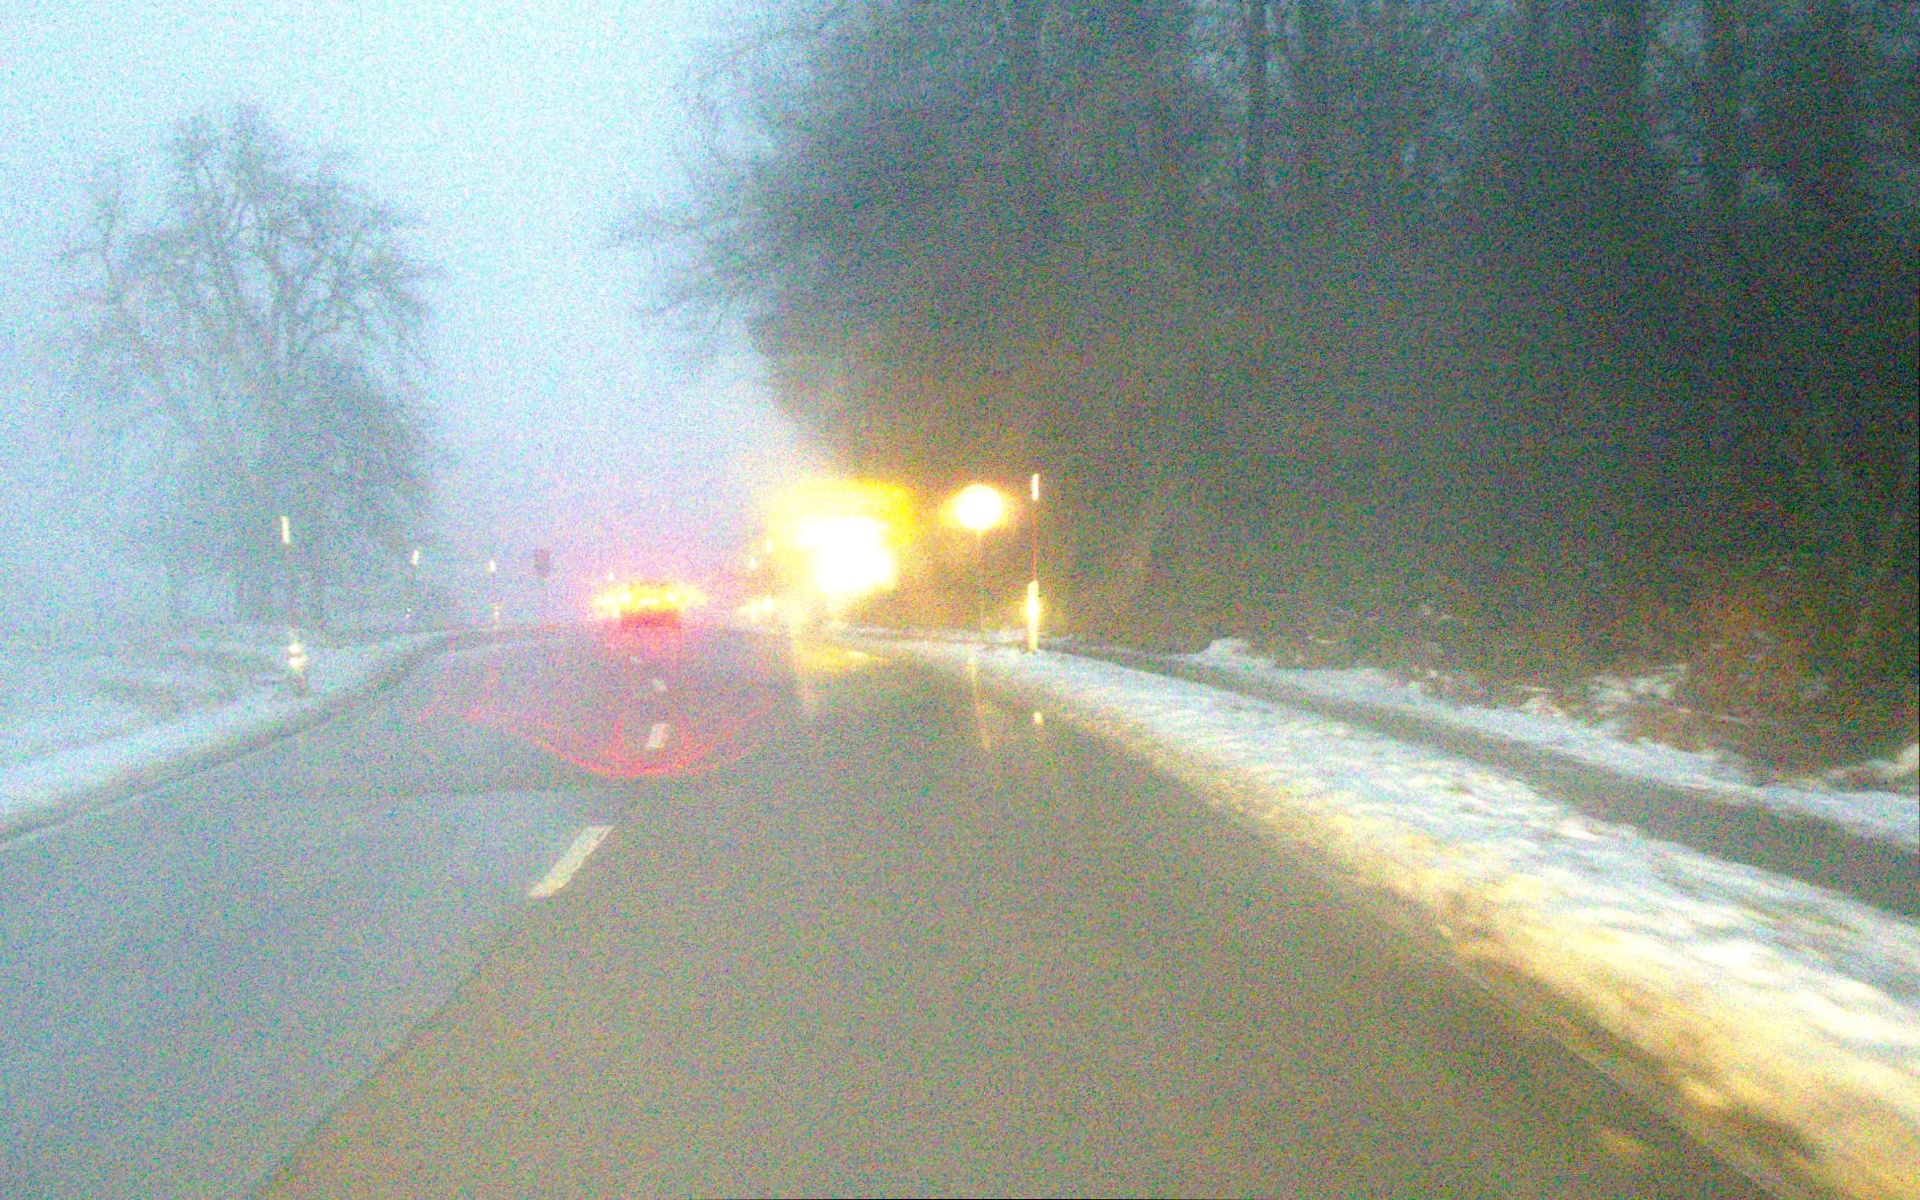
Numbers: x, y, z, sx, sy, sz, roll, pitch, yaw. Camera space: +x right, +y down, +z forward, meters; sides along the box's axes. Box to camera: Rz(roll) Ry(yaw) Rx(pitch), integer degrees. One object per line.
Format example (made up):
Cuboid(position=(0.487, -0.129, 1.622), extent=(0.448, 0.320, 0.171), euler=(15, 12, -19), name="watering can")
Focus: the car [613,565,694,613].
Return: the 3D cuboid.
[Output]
Cuboid(position=(-8.839, -0.336, 99.536), extent=(1.922, 1.272, 4.000), euler=(-2, 1, 0), name="car")
